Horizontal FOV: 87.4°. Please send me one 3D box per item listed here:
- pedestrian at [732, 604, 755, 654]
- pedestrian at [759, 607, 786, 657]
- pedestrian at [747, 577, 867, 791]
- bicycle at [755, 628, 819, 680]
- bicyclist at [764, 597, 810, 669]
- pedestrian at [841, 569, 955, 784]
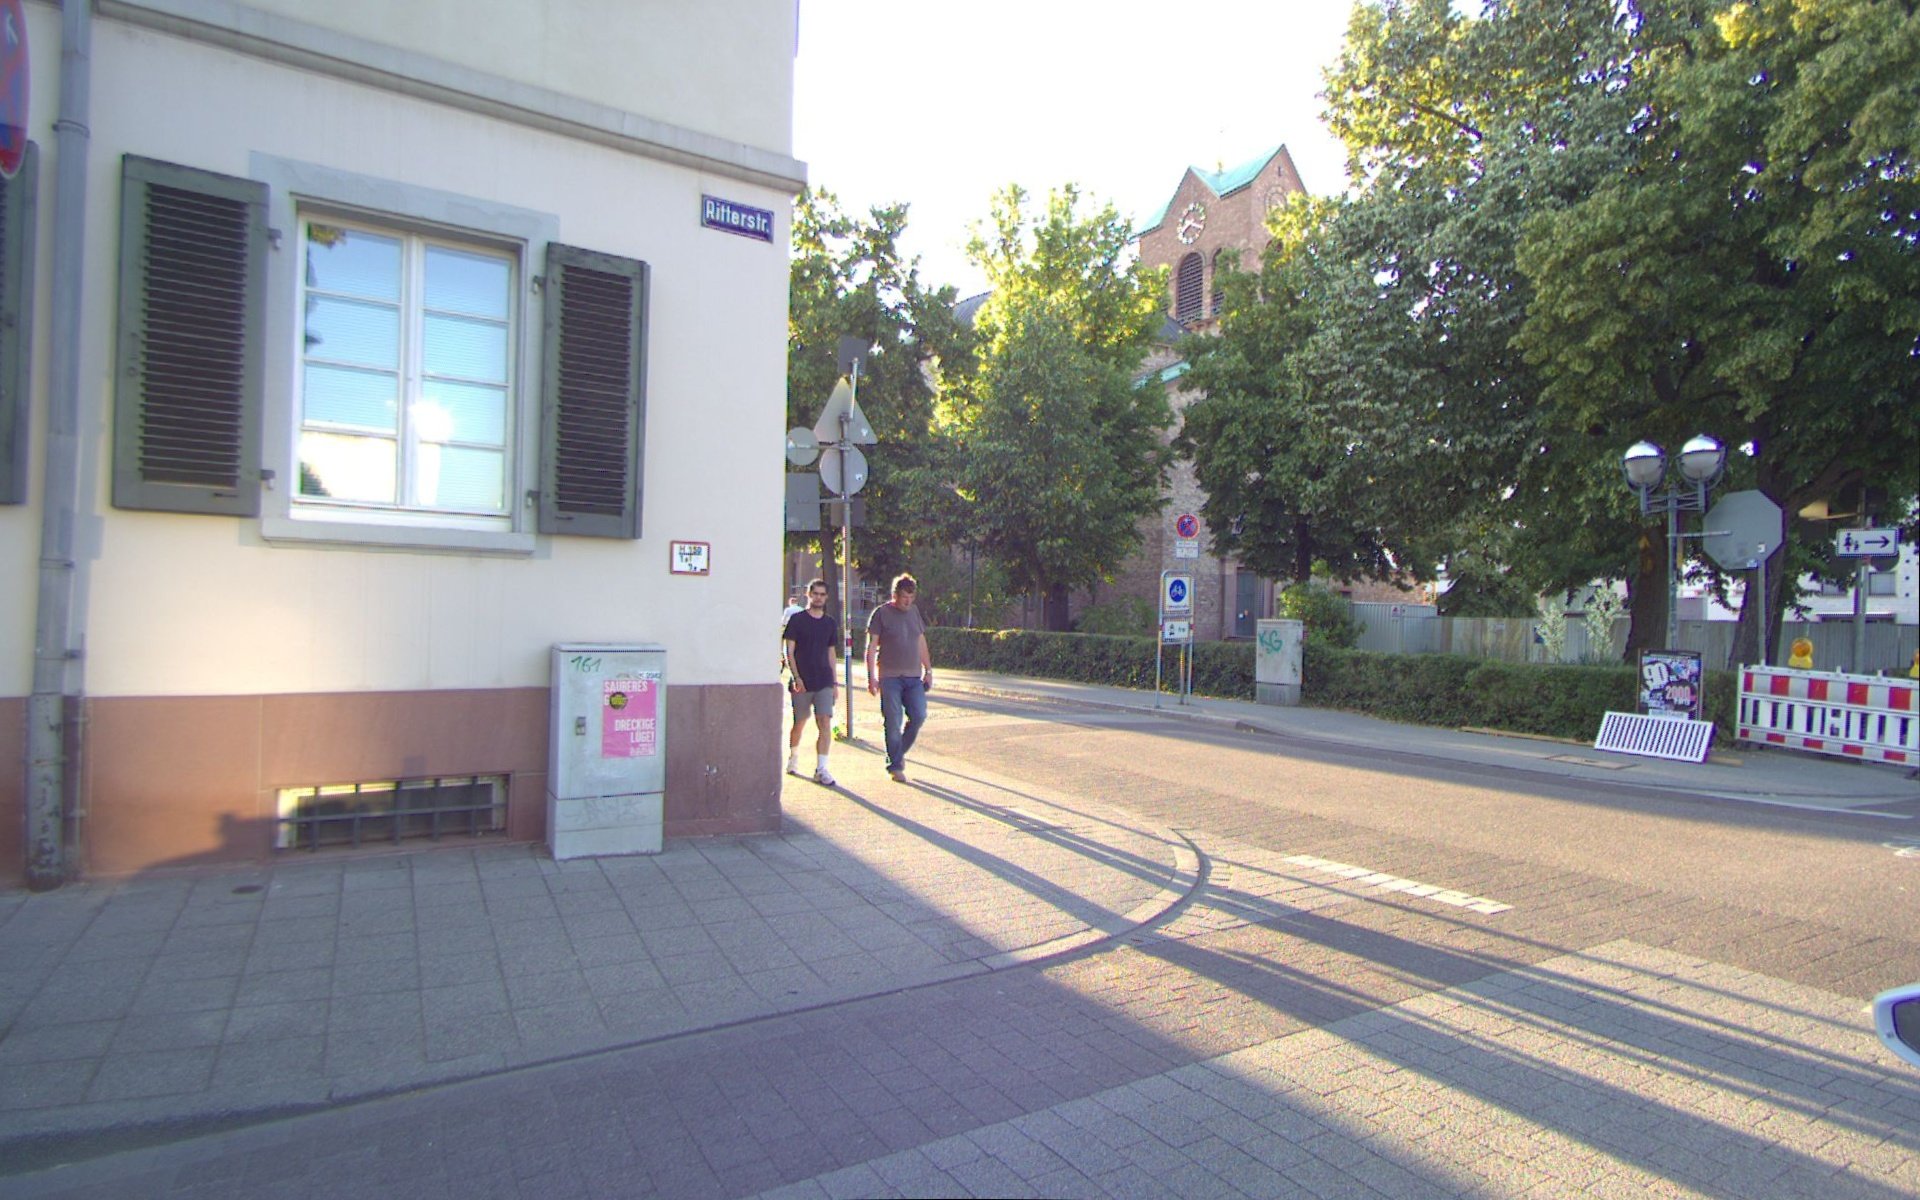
[{"bbox_3d":[-8.002,1.075,37.194,0.782,1.837,0.655,1,-1,-13],"label":"pedestrian"},{"bbox_3d":[-7.025,1.205,37.583,0.786,1.849,0.651,2,-2,-29],"label":"pedestrian"},{"bbox_3d":[-1.301,0.689,8.518,0.787,1.711,0.651,2,-2,-31],"label":"pedestrian"},{"bbox_3d":[-4.057,1.242,23.475,0.591,1.136,1.911,2,-2,-39],"label":"bicycle"},{"bbox_3d":[-4.045,0.768,23.507,0.591,1.654,1.052,2,-1,-39],"label":"bicyclist"},{"bbox_3d":[-0.567,0.672,9.113,0.787,1.838,0.651,2,-2,-31],"label":"pedestrian"}]
